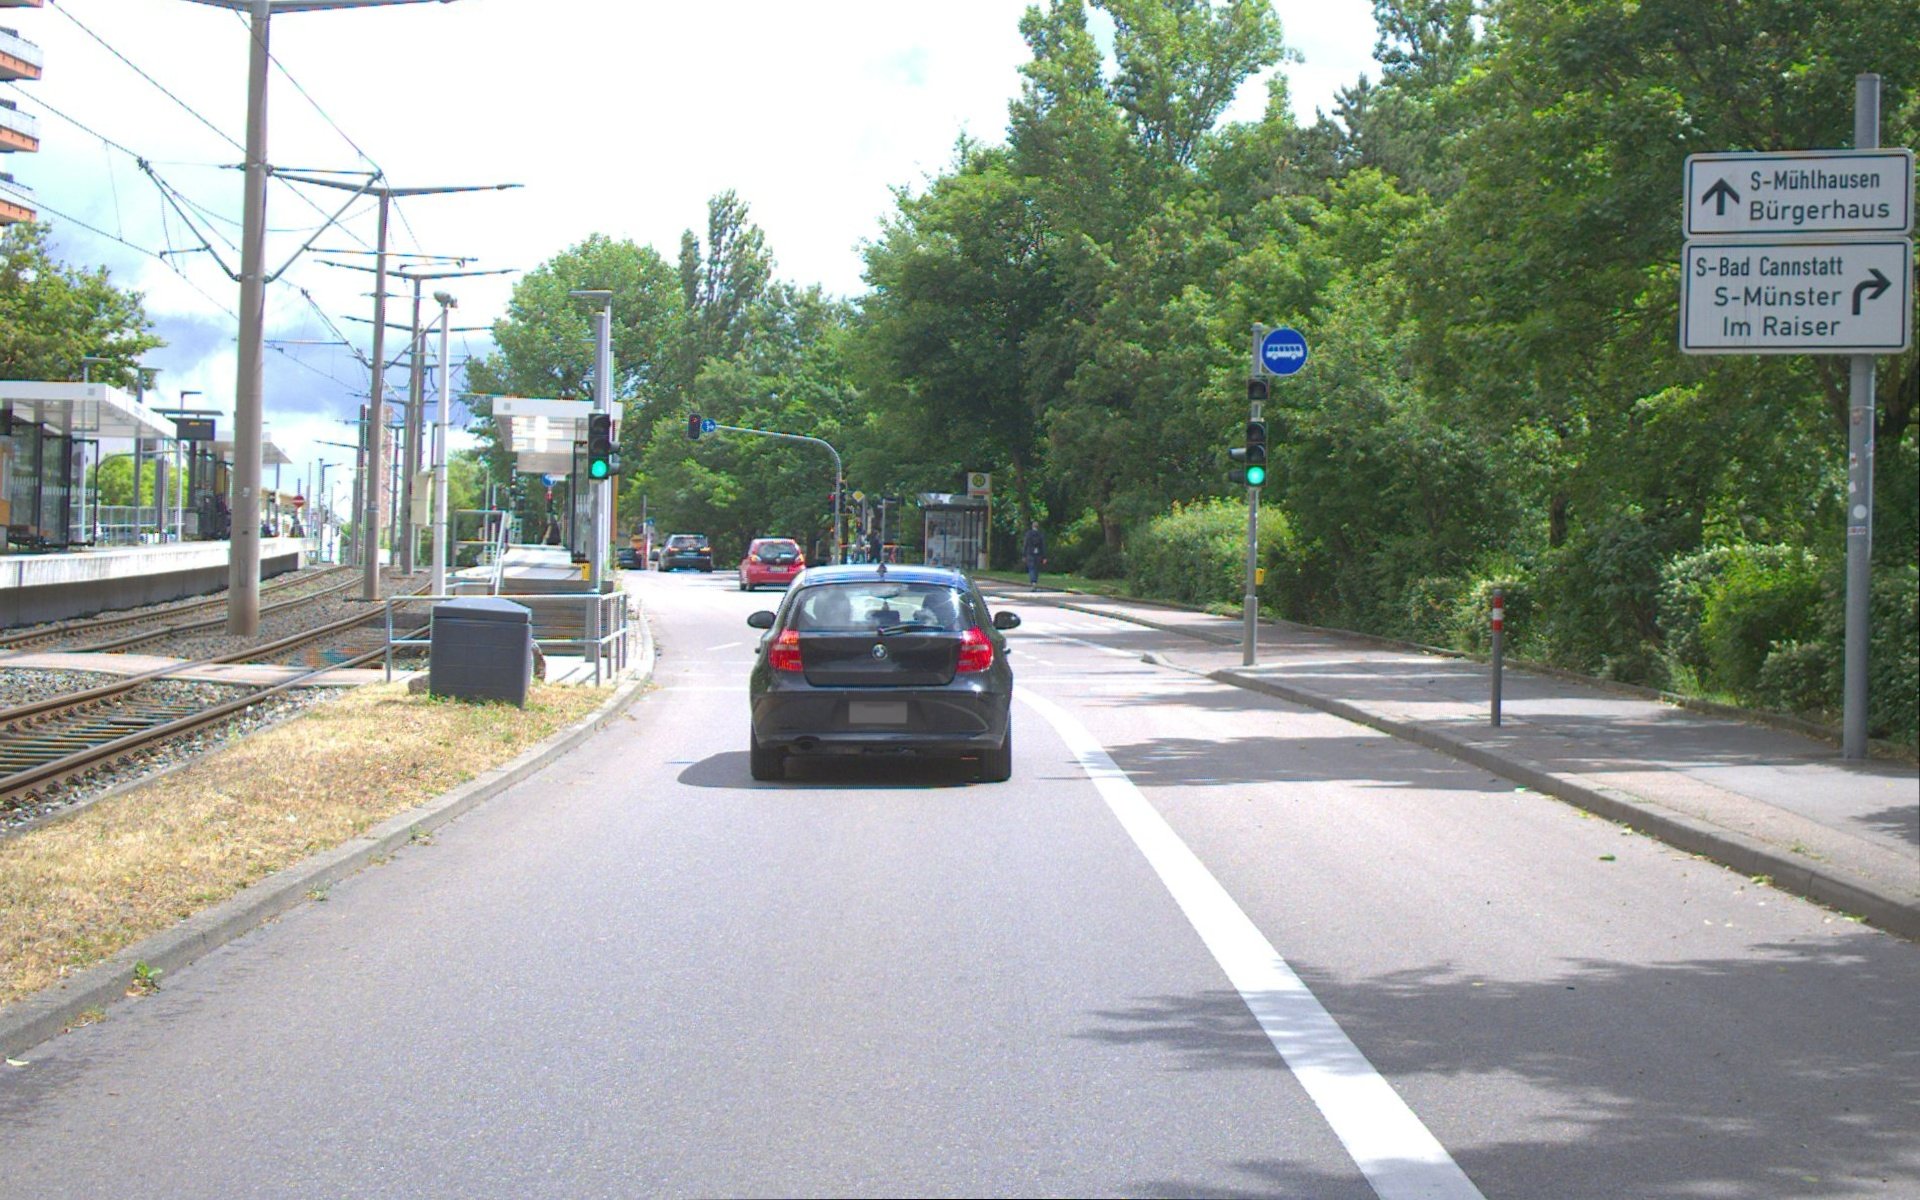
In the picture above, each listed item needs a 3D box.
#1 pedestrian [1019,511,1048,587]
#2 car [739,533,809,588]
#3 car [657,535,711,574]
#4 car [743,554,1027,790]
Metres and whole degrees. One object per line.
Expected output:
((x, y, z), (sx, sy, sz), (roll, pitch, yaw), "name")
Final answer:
((1.975, -1.373, 92.623), (0.740, 2.007, 0.681), (1, 1, -1), "pedestrian")
((-5.162, -1.112, 95.011), (1.781, 1.454, 3.922), (1, 1, -5), "car")
((-10.599, -1.740, 131.769), (1.909, 1.454, 4.003), (1, 1, -7), "car")
((-0.581, 0.423, 23.567), (1.781, 1.454, 3.922), (0, 1, -3), "car")
